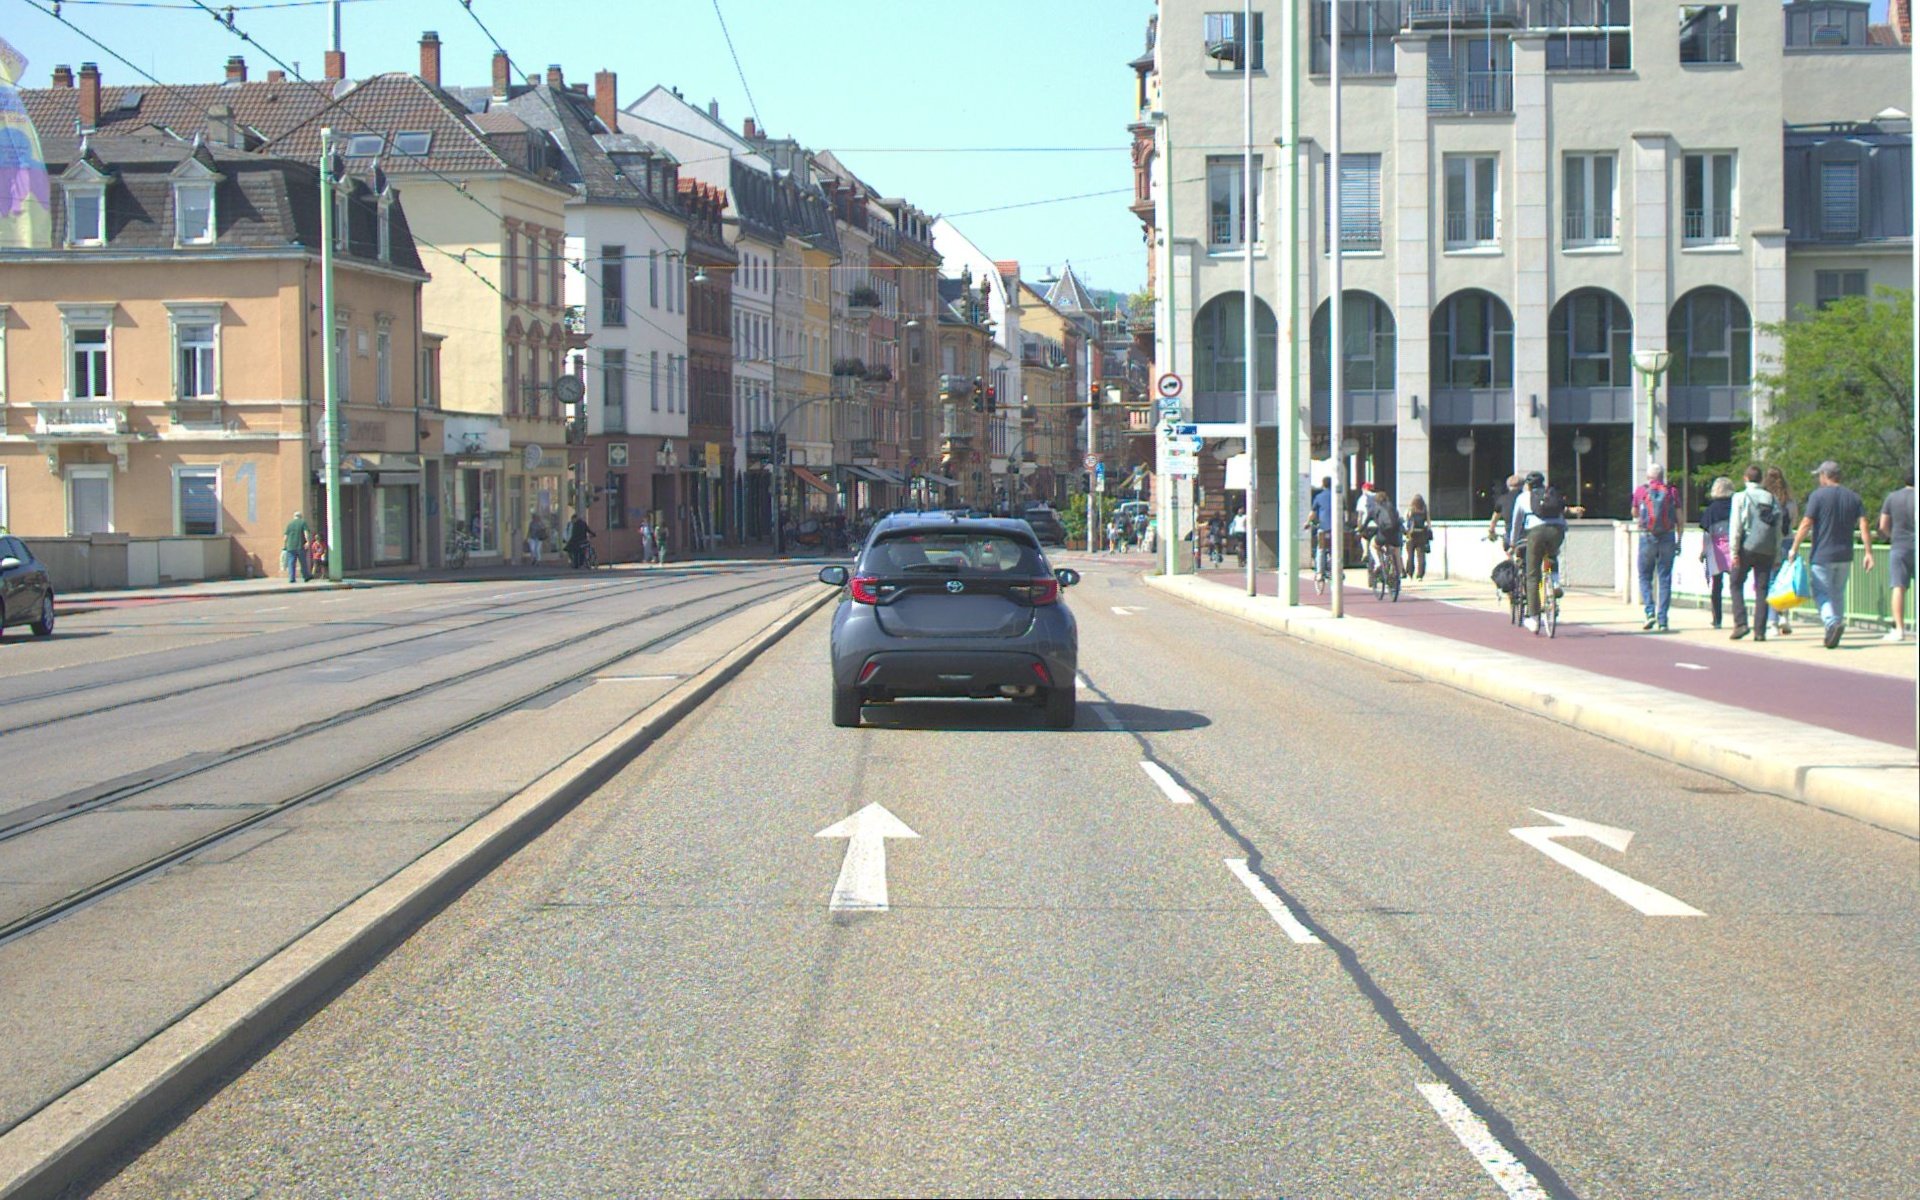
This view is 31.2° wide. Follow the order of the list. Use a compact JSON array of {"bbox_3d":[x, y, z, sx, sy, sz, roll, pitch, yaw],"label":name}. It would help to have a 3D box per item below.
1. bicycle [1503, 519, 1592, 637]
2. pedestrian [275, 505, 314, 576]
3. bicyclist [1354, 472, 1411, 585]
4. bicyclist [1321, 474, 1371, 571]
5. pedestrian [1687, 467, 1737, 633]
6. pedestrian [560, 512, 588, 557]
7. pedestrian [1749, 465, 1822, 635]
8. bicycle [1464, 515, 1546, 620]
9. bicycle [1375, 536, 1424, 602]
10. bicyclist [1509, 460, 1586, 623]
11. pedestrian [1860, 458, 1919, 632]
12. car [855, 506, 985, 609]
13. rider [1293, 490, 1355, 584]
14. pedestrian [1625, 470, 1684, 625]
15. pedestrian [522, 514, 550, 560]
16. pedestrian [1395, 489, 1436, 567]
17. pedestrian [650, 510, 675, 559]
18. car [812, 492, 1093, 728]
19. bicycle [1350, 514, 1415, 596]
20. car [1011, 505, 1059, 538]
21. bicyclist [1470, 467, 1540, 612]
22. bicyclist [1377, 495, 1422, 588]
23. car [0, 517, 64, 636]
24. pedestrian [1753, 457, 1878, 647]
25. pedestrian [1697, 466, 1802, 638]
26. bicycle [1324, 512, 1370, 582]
[{"bbox_3d":[6.153,-0.250,36.078,0.526,1.174,2.029,0,2,-2],"label":"bicycle"},{"bbox_3d":[-15.794,-1.421,81.556,0.763,1.659,0.663,0,2,2],"label":"pedestrian"},{"bbox_3d":[6.314,-1.082,51.368,0.715,1.670,0.869,0,2,-2],"label":"bicyclist"},{"bbox_3d":[6.712,-1.352,59.831,0.796,1.670,0.869,0,2,3],"label":"bicyclist"},{"bbox_3d":[8.228,-0.549,37.620,0.367,1.788,0.604,1,1,0],"label":"pedestrian"},{"bbox_3d":[-12.042,-2.052,107.325,0.763,1.393,0.663,0,2,2],"label":"pedestrian"},{"bbox_3d":[8.587,-0.525,35.766,0.528,1.742,0.728,1,1,0],"label":"pedestrian"},{"bbox_3d":[6.385,-0.396,40.335,0.593,1.174,1.940,0,2,-2],"label":"bicycle"},{"bbox_3d":[7.308,-0.525,57.223,0.666,1.046,2.029,0,2,3],"label":"bicycle"},{"bbox_3d":[6.159,-0.624,36.075,0.627,1.683,0.869,0,2,-2],"label":"bicyclist"},{"bbox_3d":[9.341,-0.548,33.618,0.834,1.683,0.869,0,2,0],"label":"pedestrian"},{"bbox_3d":[-0.657,-0.694,53.203,1.803,1.464,4.001,-2,2,-3],"label":"car"},{"bbox_3d":[5.849,-1.016,55.246,0.889,1.499,0.841,0,2,-2],"label":"rider"},{"bbox_3d":[7.557,-0.575,37.428,0.426,1.666,0.620,3,1,-1],"label":"pedestrian"},{"bbox_3d":[-12.975,-1.940,105.247,0.763,1.393,0.663,0,2,2],"label":"pedestrian"},{"bbox_3d":[8.537,-1.348,64.482,0.656,1.446,0.644,0,2,-3],"label":"pedestrian"},{"bbox_3d":[-10.445,-2.294,120.666,0.763,1.693,0.663,0,2,2],"label":"pedestrian"},{"bbox_3d":[-0.135,0.007,25.664,1.910,1.535,4.001,-1,3,-3],"label":"car"},{"bbox_3d":[6.315,-0.685,51.487,0.666,1.174,2.029,0,2,-2],"label":"bicycle"},{"bbox_3d":[3.340,-3.513,153.124,1.878,1.404,4.000,0,2,5],"label":"car"},{"bbox_3d":[6.374,-0.714,40.240,0.656,1.670,0.869,0,2,-2],"label":"bicyclist"},{"bbox_3d":[7.299,-0.978,57.116,0.651,1.524,0.975,0,2,3],"label":"bicyclist"},{"bbox_3d":[-13.394,-0.333,45.782,1.993,1.474,4.001,0,2,-2],"label":"car"},{"bbox_3d":[8.041,-0.460,32.340,0.929,1.755,0.938,0,2,0],"label":"pedestrian"},{"bbox_3d":[7.844,-0.490,34.176,0.834,1.683,0.869,0,2,0],"label":"pedestrian"},{"bbox_3d":[6.721,-0.929,59.775,0.666,1.174,2.029,0,2,3],"label":"bicycle"}]
